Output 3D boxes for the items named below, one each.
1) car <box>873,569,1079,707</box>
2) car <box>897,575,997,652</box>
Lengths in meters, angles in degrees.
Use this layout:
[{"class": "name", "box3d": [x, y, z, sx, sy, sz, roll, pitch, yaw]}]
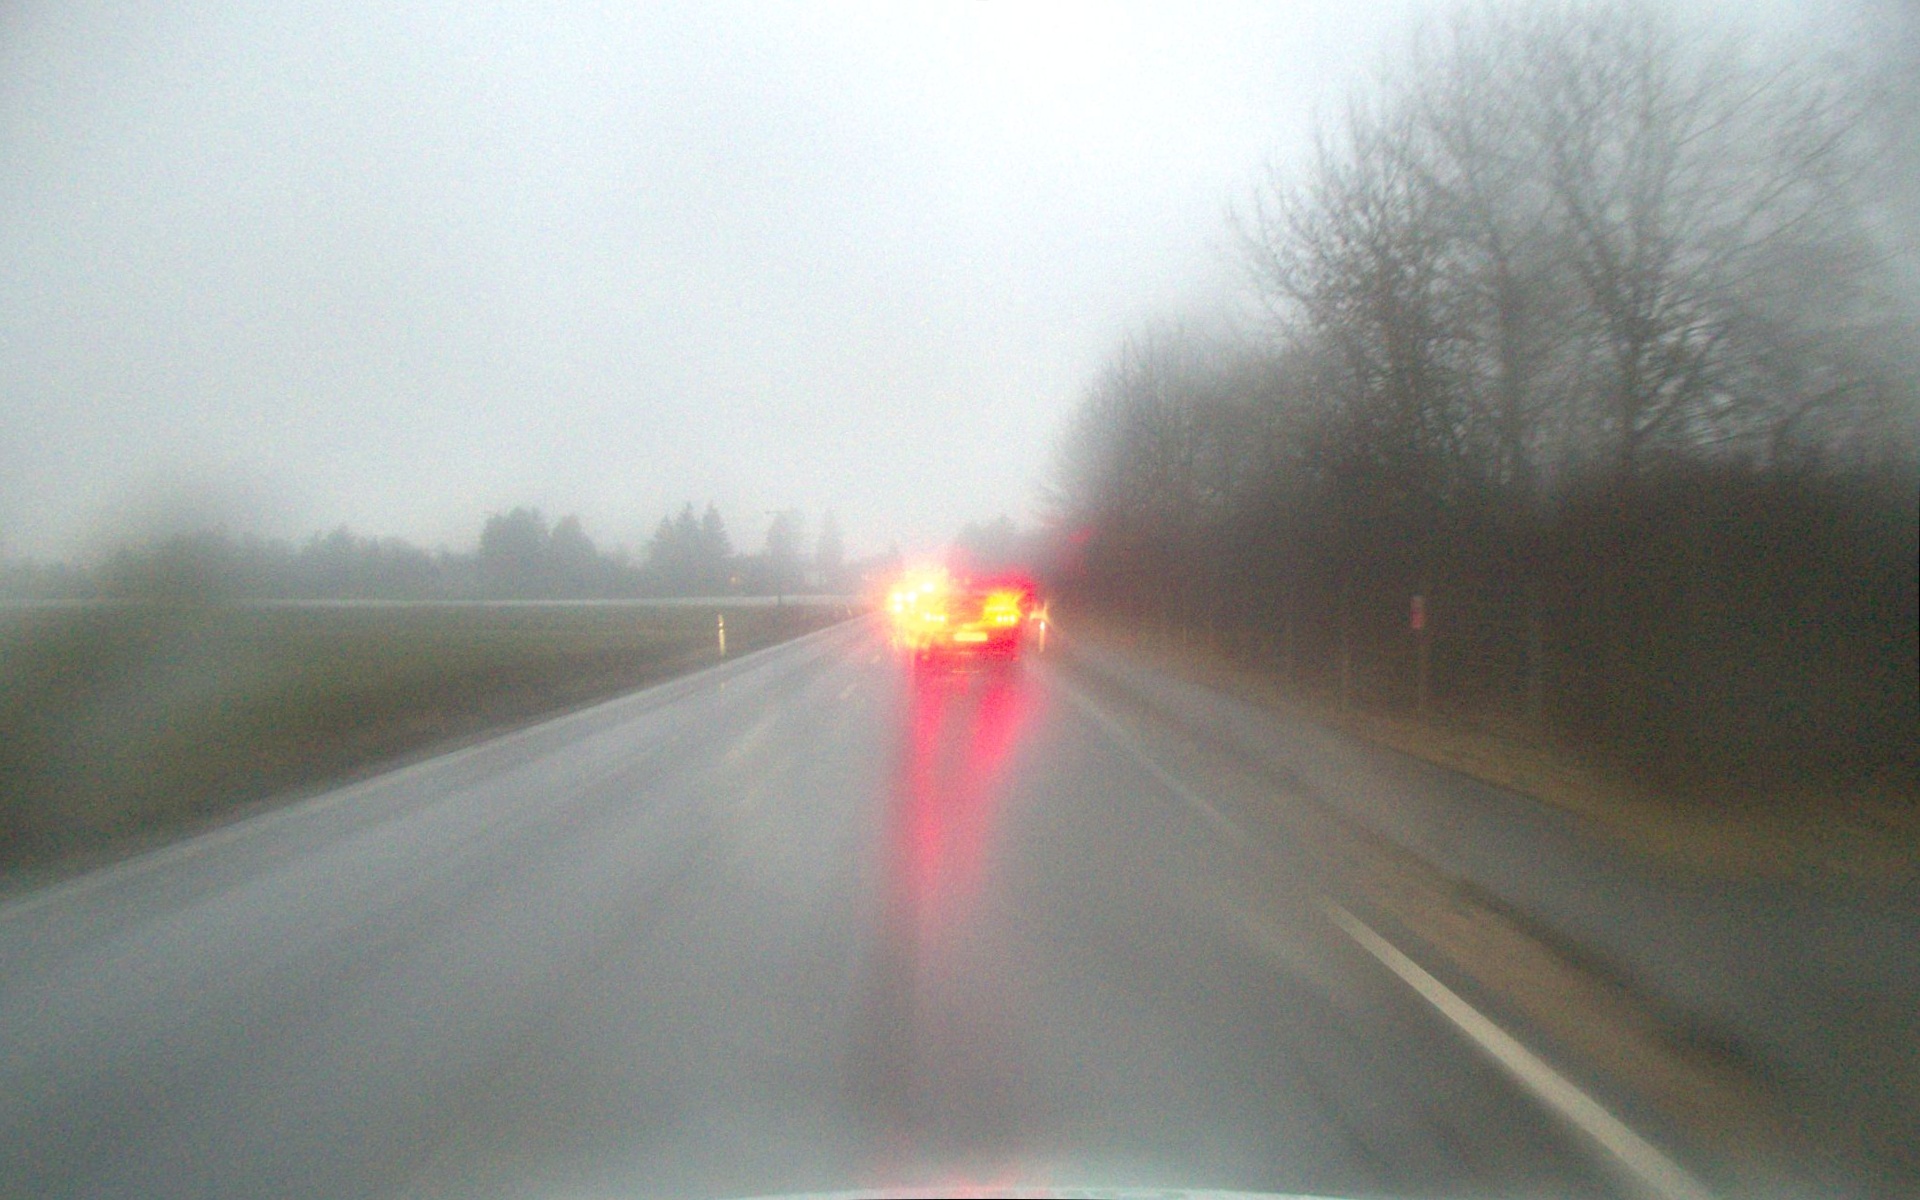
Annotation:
[{"class": "car", "box3d": [0.221, 0.536, 28.353, 3.100, 2.071, 6.851, 0, 1, 0]}, {"class": "car", "box3d": [-0.365, 0.327, 48.184, 2.699, 2.071, 6.590, 0, 1, 0]}]
